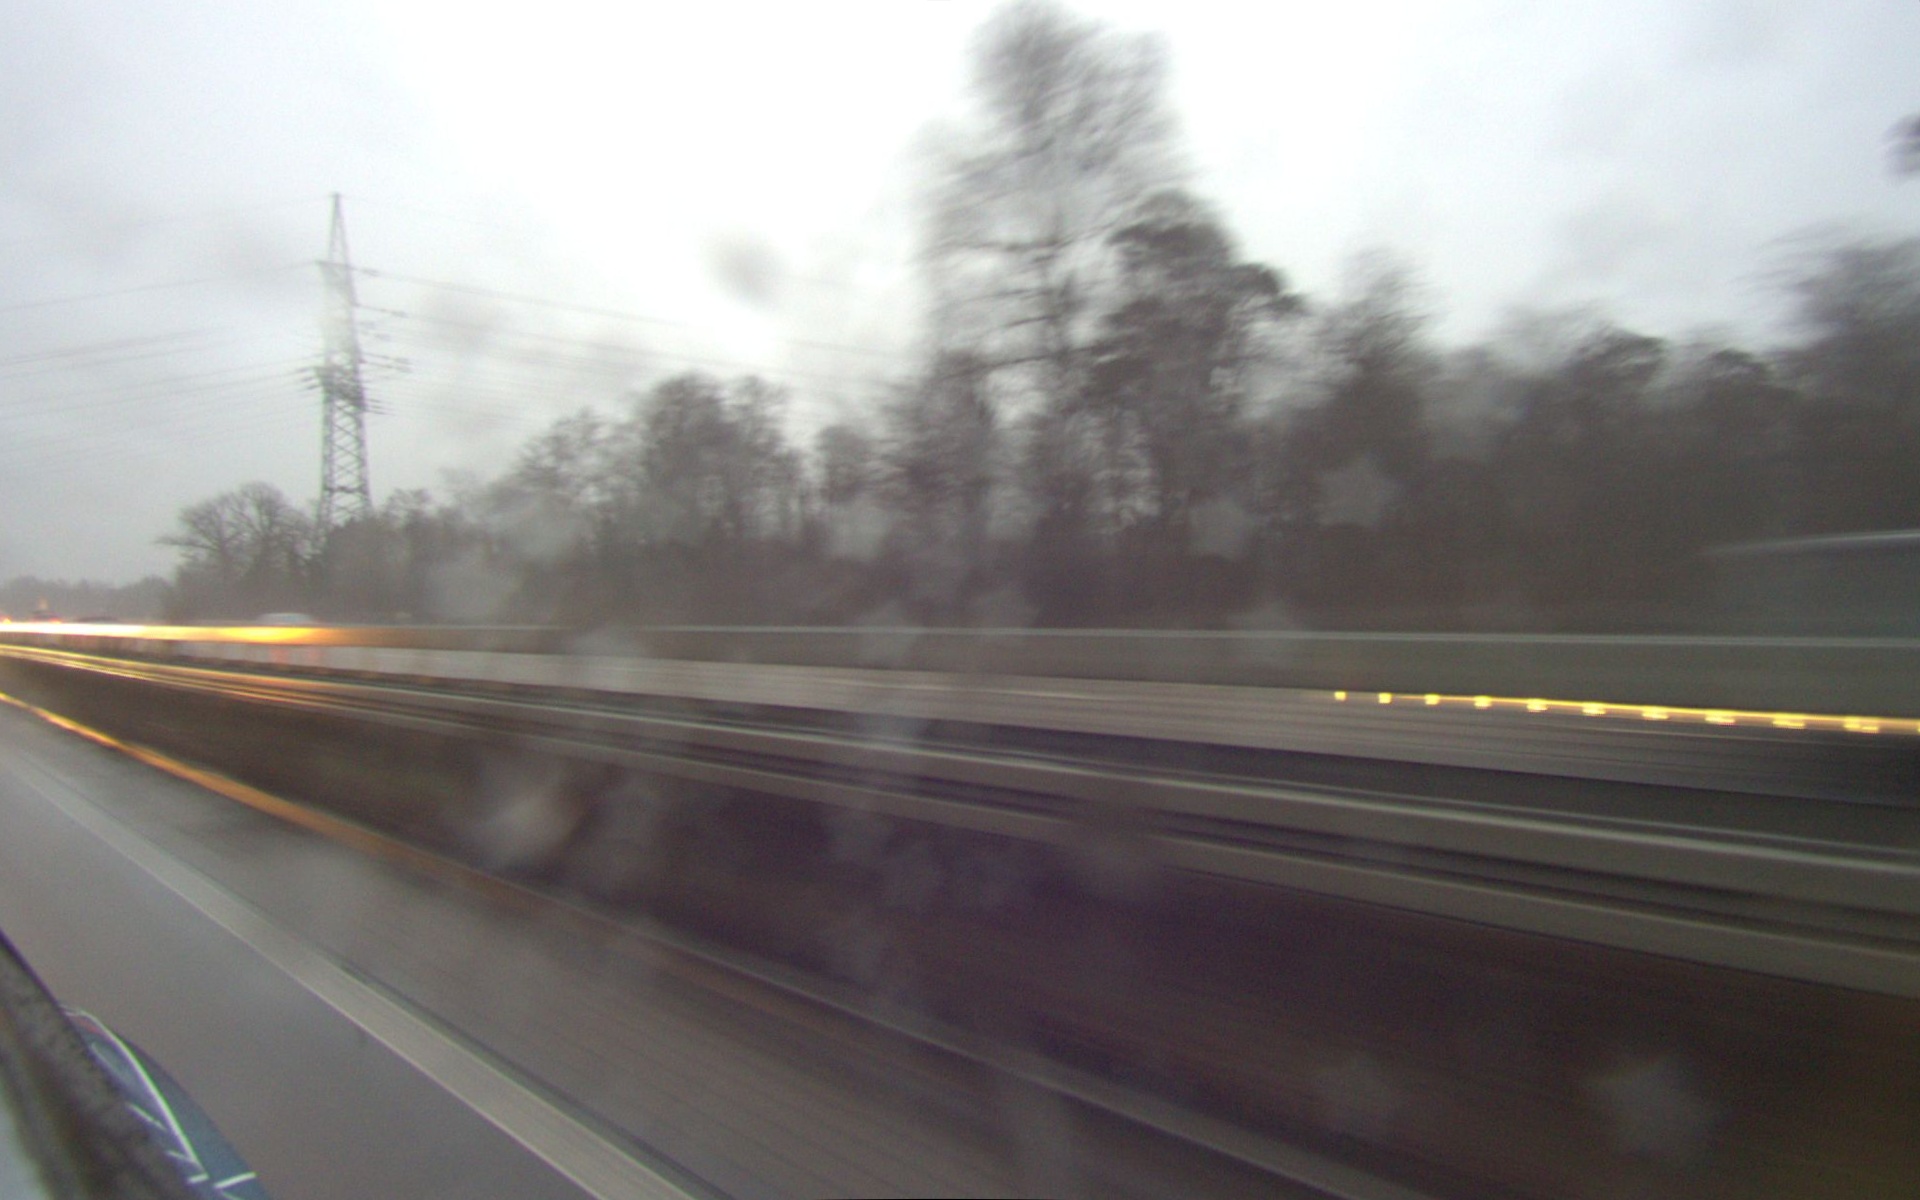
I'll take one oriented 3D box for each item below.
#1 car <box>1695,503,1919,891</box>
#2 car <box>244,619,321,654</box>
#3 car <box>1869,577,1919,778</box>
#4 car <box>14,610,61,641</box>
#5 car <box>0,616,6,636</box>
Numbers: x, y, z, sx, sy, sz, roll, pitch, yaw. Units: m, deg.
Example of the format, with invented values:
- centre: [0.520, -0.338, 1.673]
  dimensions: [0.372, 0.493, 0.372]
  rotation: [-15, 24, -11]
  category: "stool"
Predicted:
- centre: [5.608, 0.356, 3.849]
  dimensions: [4.415, 1.601, 1.709]
  rotation: [-1, 1, 41]
  category: "car"
- centre: [-28.942, 1.551, 43.182]
  dimensions: [4.154, 1.361, 1.686]
  rotation: [-1, 0, 41]
  category: "car"
- centre: [9.205, 0.539, 6.896]
  dimensions: [4.415, 1.471, 1.709]
  rotation: [-1, 1, 41]
  category: "car"
- centre: [-65.026, 1.793, 71.345]
  dimensions: [3.998, 2.024, 1.973]
  rotation: [-2, 0, 41]
  category: "car"
- centre: [-83.330, 2.254, 86.832]
  dimensions: [3.998, 1.670, 1.736]
  rotation: [-2, 0, 41]
  category: "car"
